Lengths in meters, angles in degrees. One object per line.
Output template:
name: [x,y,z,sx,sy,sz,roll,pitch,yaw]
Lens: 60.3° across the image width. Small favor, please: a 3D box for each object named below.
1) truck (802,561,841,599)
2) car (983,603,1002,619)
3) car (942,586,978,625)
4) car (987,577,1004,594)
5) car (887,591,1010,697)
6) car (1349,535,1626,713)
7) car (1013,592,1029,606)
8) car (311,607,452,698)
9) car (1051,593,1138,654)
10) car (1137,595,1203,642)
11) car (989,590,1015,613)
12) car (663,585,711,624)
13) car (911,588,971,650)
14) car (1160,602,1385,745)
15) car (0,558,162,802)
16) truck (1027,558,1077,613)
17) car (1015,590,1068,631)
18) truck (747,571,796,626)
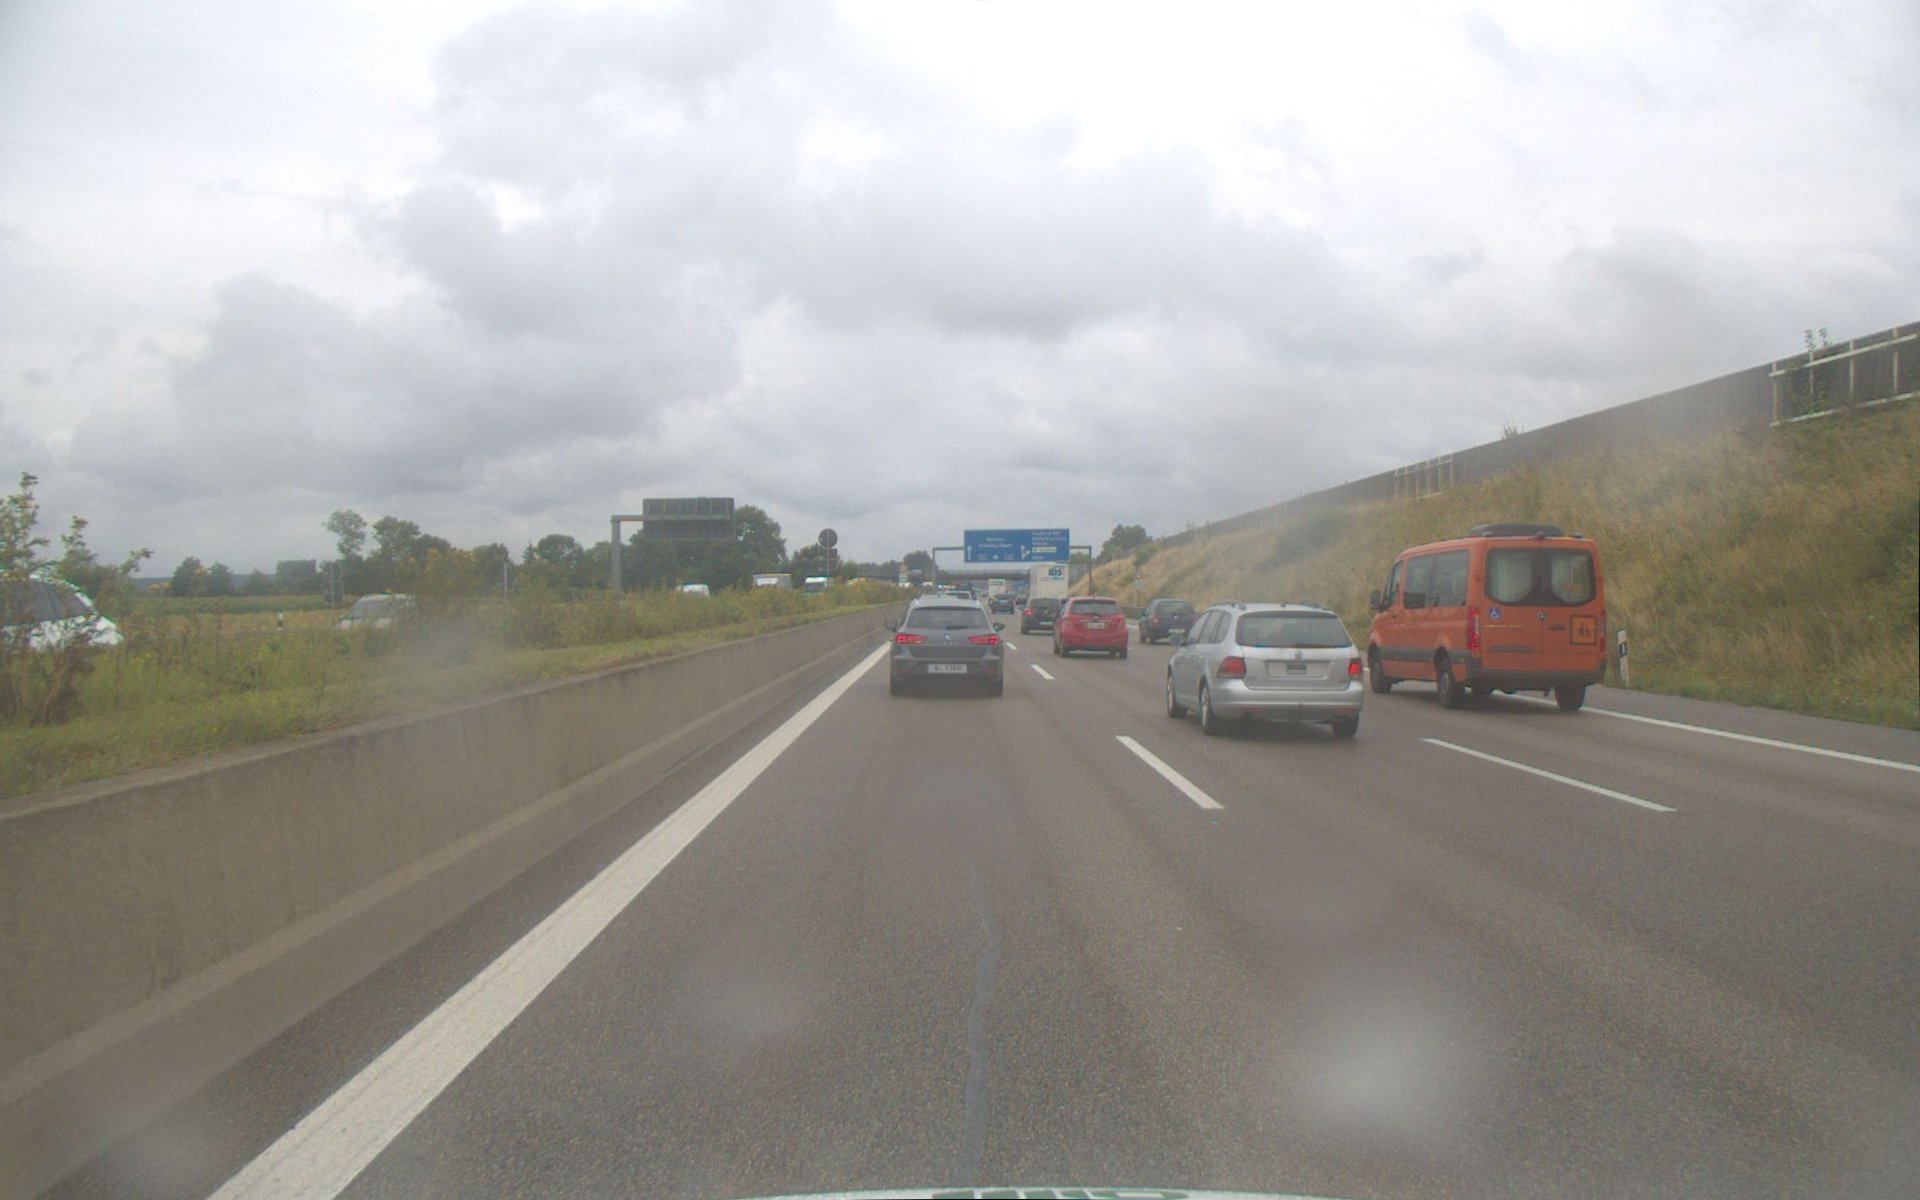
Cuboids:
truck: [-15.325,-2.139,184.173,3.118,4.036,10.812,1,0,2]
car: [3.233,1.141,166.719,1.716,1.544,3.999,0,0,-1]
car: [-0.011,0.246,82.097,1.670,1.828,3.854,-2,0,-1]
car: [4.476,-1.808,210.254,1.953,2.049,3.998,-1,0,-2]
car: [-0.175,0.644,25.721,1.732,1.493,3.999,1,0,0]
car: [7.736,0.293,25.038,2.044,2.355,6.179,0,0,-2]
car: [8.176,-0.144,221.681,1.953,1.892,4.389,0,0,-2]
car: [-14.208,1.238,40.893,1.953,2.049,4.347,-2,0,-1]
car: [3.391,0.560,42.425,1.852,1.472,4.685,0,0,0]
car: [6.738,0.585,53.471,1.667,1.426,3.875,1,0,1]
car: [3.260,0.131,128.324,1.808,1.716,3.999,1,0,-1]
car: [-18.963,0.317,115.256,2.199,2.574,6.906,1,0,0]
car: [-0.538,0.575,50.257,1.718,1.780,4.000,1,0,0]
car: [3.524,0.762,19.479,1.706,1.450,4.516,-1,0,-1]
car: [-9.088,0.704,14.618,1.953,2.049,4.347,-2,0,-1]
truck: [7.708,-1.113,141.394,3.216,4.370,19.032,1,0,0]
car: [3.172,0.391,64.891,1.881,1.548,4.622,0,0,1]
truck: [-16.862,-0.145,148.337,3.159,4.731,9.674,1,0,0]
